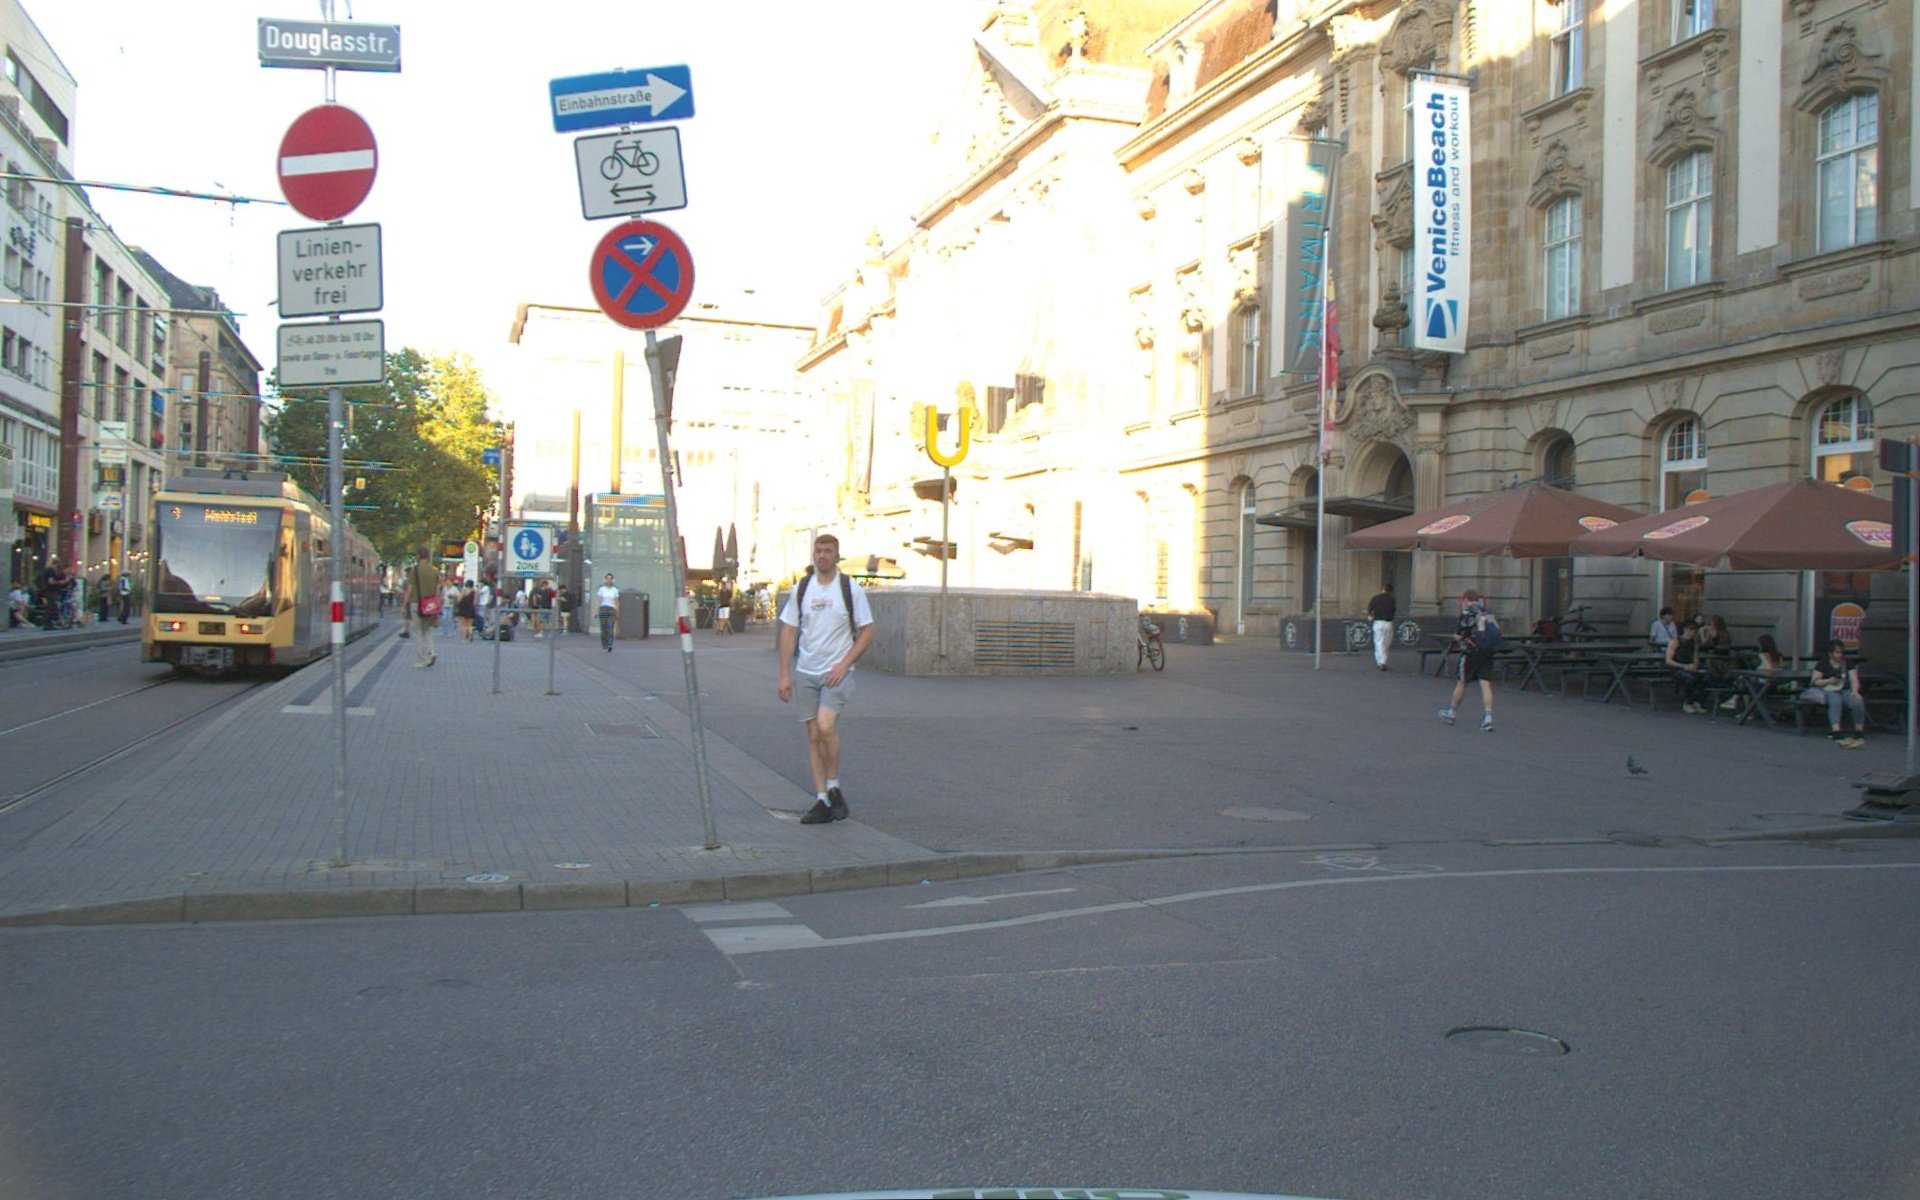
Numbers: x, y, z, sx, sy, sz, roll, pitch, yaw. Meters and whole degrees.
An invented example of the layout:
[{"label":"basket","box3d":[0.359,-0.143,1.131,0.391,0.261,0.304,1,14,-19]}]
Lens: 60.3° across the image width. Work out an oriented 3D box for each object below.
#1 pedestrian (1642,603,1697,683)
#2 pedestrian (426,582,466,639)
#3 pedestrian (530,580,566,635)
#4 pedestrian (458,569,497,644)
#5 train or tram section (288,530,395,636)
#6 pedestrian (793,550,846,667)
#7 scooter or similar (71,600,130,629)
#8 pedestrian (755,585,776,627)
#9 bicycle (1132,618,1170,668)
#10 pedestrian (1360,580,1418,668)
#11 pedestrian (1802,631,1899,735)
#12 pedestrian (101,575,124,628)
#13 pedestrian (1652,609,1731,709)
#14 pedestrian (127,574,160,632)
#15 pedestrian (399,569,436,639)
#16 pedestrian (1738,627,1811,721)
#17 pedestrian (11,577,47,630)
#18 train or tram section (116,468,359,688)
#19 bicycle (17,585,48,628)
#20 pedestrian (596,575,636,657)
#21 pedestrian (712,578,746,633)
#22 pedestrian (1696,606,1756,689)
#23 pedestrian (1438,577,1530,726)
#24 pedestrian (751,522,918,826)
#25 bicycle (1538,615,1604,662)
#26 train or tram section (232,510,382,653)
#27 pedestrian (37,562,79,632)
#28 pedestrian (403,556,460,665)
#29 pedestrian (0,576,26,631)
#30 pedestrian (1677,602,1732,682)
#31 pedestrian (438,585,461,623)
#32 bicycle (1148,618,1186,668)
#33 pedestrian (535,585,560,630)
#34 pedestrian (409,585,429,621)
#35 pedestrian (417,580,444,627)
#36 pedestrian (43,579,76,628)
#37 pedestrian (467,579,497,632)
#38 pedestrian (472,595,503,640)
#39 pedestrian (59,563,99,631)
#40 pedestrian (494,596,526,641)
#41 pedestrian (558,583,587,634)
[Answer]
[{"label":"pedestrian","box3d":[12.321,0.738,28.712,0.584,1.331,0.578,2,2,-22]},{"label":"pedestrian","box3d":[-14.769,0.298,47.541,0.750,1.606,0.795,1,0,12]},{"label":"pedestrian","box3d":[-13.009,0.240,52.220,0.778,1.690,0.767,1,0,32]},{"label":"pedestrian","box3d":[-12.190,0.160,41.817,0.726,1.855,0.811,2,-1,-32]},{"label":"train or tram section","box3d":[-22.348,-0.576,60.405,2.756,3.377,14.437,1,0,-17]},{"label":"pedestrian","box3d":[-2.501,0.155,29.539,0.754,2.049,0.917,2,-1,3]},{"label":"scooter or similar","box3d":[-25.152,0.432,48.415,0.546,0.845,1.525,0,-1,21]},{"label":"pedestrian","box3d":[-8.744,0.260,74.281,0.761,1.857,0.845,1,0,-20]},{"label":"bicycle","box3d":[3.487,0.774,30.212,0.310,0.882,0.995,0,0,-18]},{"label":"pedestrian","box3d":[8.038,0.436,31.029,0.830,1.593,0.850,1,1,-1]},{"label":"pedestrian","box3d":[11.778,1.088,21.899,0.763,1.264,0.828,2,2,-3]},{"label":"pedestrian","box3d":[-28.394,0.064,55.422,0.593,1.757,0.603,1,-1,-24]},{"label":"pedestrian","box3d":[10.847,0.865,24.543,0.788,1.407,0.652,2,2,-7]},{"label":"pedestrian","box3d":[-24.992,0.088,50.617,0.761,1.756,0.706,1,-1,-18]},{"label":"pedestrian","box3d":[-14.563,0.104,44.396,0.726,1.855,0.811,2,-1,-32]},{"label":"pedestrian","box3d":[11.523,1.034,23.413,0.603,1.247,0.700,2,2,-3]},{"label":"pedestrian","box3d":[-25.221,0.097,44.822,0.696,1.403,0.717,1,-1,-18]},{"label":"train or tram section","box3d":[-13.824,-0.367,32.858,2.756,3.377,14.437,1,0,-17]},{"label":"bicycle","box3d":[-26.185,0.178,46.681,0.430,1.162,1.594,1,0,-41]},{"label":"pedestrian","box3d":[-7.842,0.360,37.680,0.762,1.855,0.934,0,0,-21]},{"label":"pedestrian","box3d":[-7.966,0.184,57.087,0.842,1.855,0.764,1,0,-41]},{"label":"pedestrian","box3d":[12.788,0.798,27.631,0.599,1.331,0.605,2,2,-22]},{"label":"pedestrian","box3d":[6.703,0.649,21.171,0.794,1.855,0.803,1,1,-13]},{"label":"pedestrian","box3d":[-0.840,0.475,10.958,0.994,1.896,1.041,2,-1,-6]},{"label":"bicycle","box3d":[12.161,0.763,32.930,1.299,0.909,0.408,0,1,-22]},{"label":"train or tram section","box3d":[-18.088,-0.478,46.650,2.756,3.377,14.437,1,0,-17]},{"label":"pedestrian","box3d":[-22.707,-0.067,41.638,0.762,1.756,0.705,0,-2,42]},{"label":"pedestrian","box3d":[-8.613,0.177,26.933,0.711,1.756,0.701,1,-1,-33]},{"label":"pedestrian","box3d":[-24.621,0.091,42.743,0.696,1.403,0.717,1,-1,-18]},{"label":"pedestrian","box3d":[12.967,0.730,28.815,0.583,1.331,0.579,2,2,-19]},{"label":"pedestrian","box3d":[-23.040,0.181,74.650,0.777,1.690,0.768,1,0,-6]},{"label":"bicycle","box3d":[3.791,0.785,30.313,0.310,0.882,0.995,0,0,-18]},{"label":"pedestrian","box3d":[-15.494,0.279,62.118,0.777,1.690,0.768,1,0,-6]},{"label":"pedestrian","box3d":[-26.167,0.155,79.941,0.752,1.690,0.793,1,0,-8]},{"label":"pedestrian","box3d":[-19.413,0.139,60.609,0.752,1.690,0.794,1,0,-6]},{"label":"pedestrian","box3d":[-26.113,0.106,47.963,0.696,1.403,0.717,1,-1,-18]},{"label":"pedestrian","box3d":[-15.576,0.178,53.943,0.777,1.690,0.768,1,0,-6]},{"label":"pedestrian","box3d":[-13.435,0.498,47.017,0.781,1.243,0.764,1,0,-21]},{"label":"pedestrian","box3d":[-23.082,-0.084,43.339,0.762,1.756,0.705,0,-2,44]},{"label":"pedestrian","box3d":[-12.637,0.516,46.433,0.781,1.243,0.764,1,0,-21]},{"label":"pedestrian","box3d":[-12.871,0.277,54.957,0.777,1.690,0.768,1,0,-6]}]
